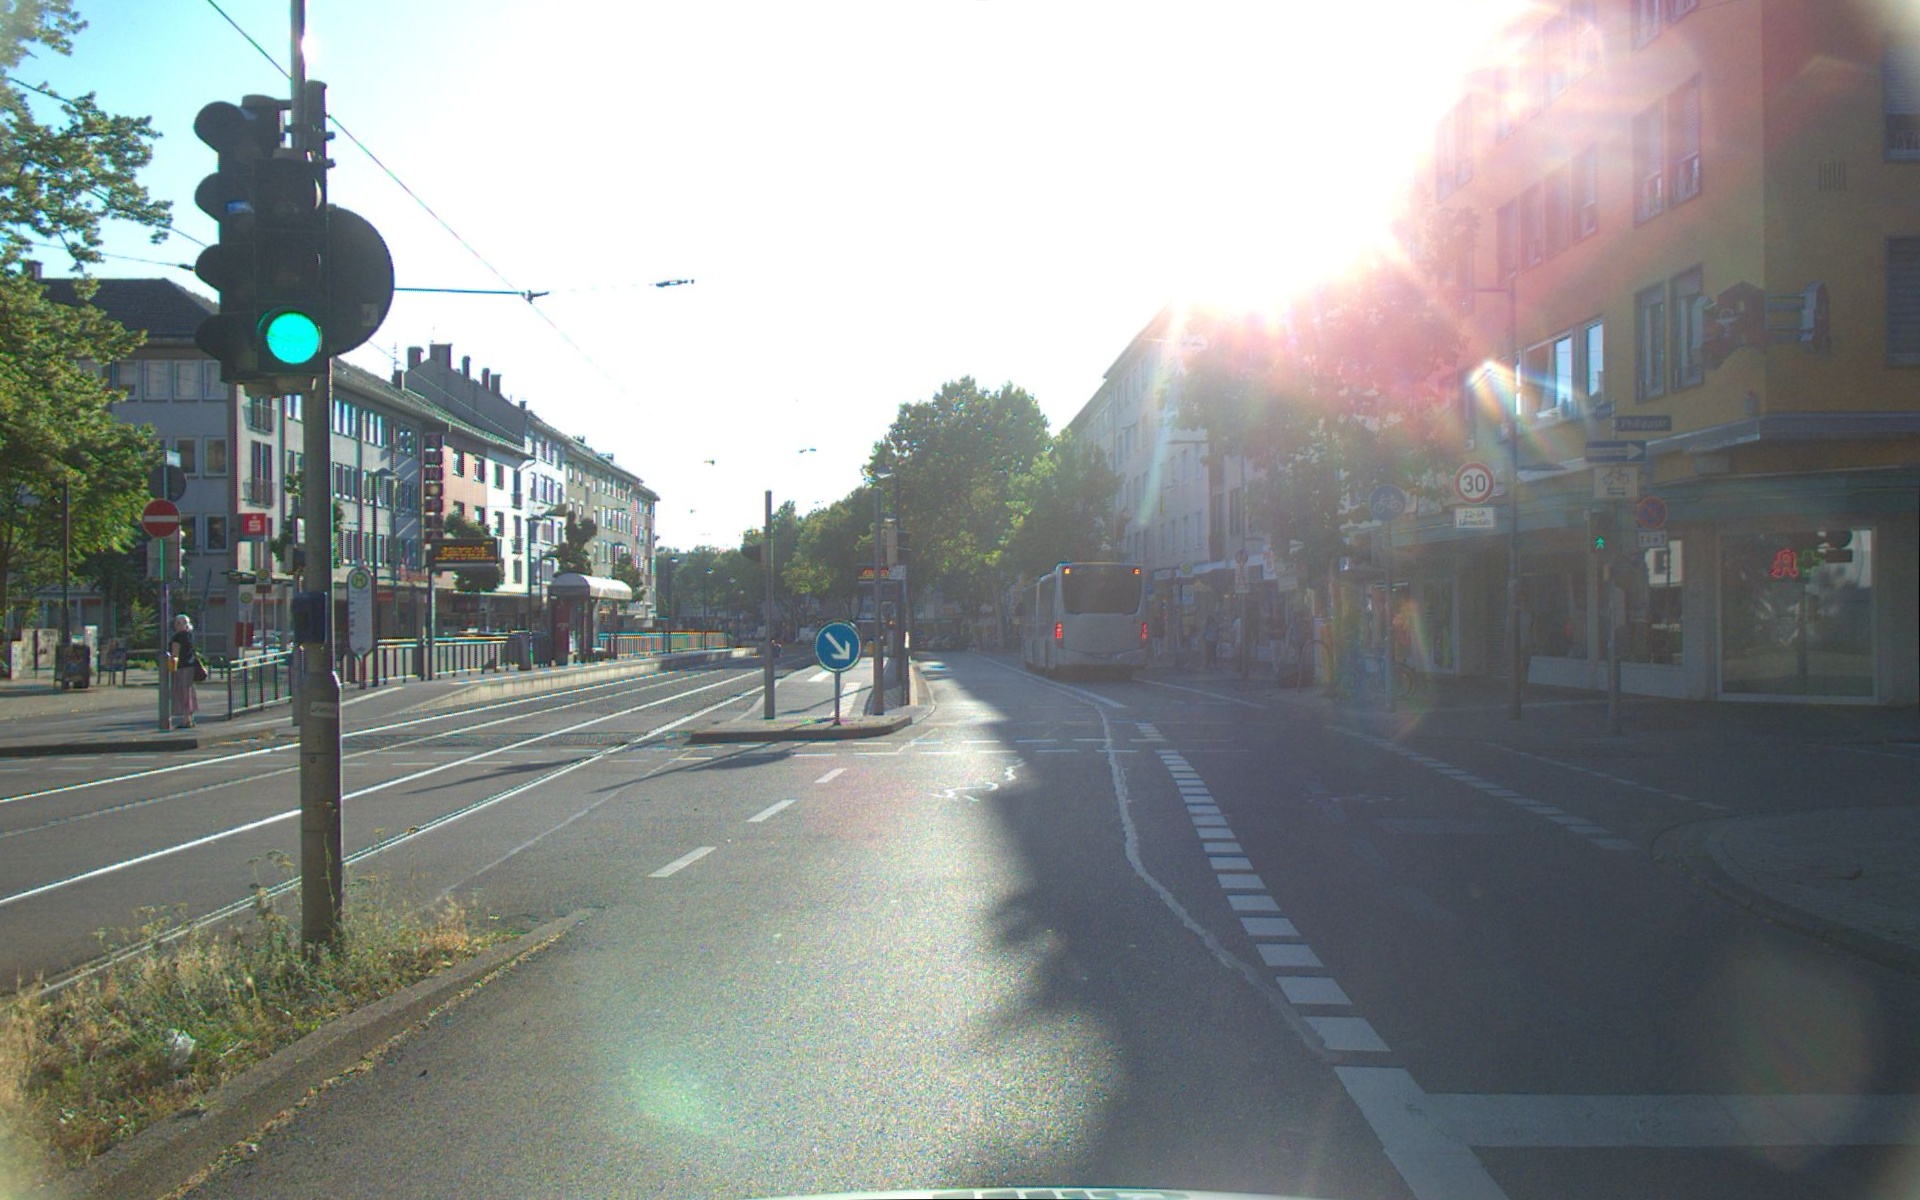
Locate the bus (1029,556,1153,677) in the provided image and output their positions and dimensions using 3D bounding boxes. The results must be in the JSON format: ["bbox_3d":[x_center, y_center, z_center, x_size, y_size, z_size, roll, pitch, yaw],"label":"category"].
[{"bbox_3d":[3.648,0.518,48.161,2.642,3.173,9.377,0,-1,-2],"label":"bus"}]

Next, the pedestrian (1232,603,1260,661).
[{"bbox_3d":[9.391,1.052,54.329,0.709,1.872,0.766,-1,-1,-2],"label":"pedestrian"}]

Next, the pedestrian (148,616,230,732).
[{"bbox_3d":[-12.180,1.155,26.140,0.900,1.791,0.832,-1,-1,0],"label":"pedestrian"}]

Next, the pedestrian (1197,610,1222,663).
[{"bbox_3d":[7.633,1.101,50.614,0.598,1.606,0.851,-1,-1,0],"label":"pedestrian"}]

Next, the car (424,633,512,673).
[{"bbox_3d":[-22.193,2.373,74.710,1.734,1.709,3.499,-1,0,34],"label":"car"}]

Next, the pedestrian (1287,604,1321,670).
[{"bbox_3d":[9.344,0.997,44.892,0.709,1.754,0.766,-1,-1,-2],"label":"pedestrian"}]

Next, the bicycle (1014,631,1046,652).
[{"bbox_3d":[4.180,2.500,99.068,1.848,1.096,0.754,-5,-1,1],"label":"bicycle"}]

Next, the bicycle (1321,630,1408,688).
[{"bbox_3d":[7.323,1.065,29.971,1.454,1.026,0.454,-1,-1,-5],"label":"bicycle"}]

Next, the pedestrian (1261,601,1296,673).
[{"bbox_3d":[8.218,0.959,42.706,0.709,1.838,0.766,-1,-1,-2],"label":"pedestrian"}]

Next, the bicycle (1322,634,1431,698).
[{"bbox_3d":[7.393,1.171,29.406,1.763,1.026,0.540,-3,-1,-5],"label":"bicycle"}]

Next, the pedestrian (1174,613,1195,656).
[{"bbox_3d":[8.825,1.358,65.038,0.709,1.661,0.766,-1,-1,-2],"label":"pedestrian"}]

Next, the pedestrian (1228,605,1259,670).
[{"bbox_3d":[7.956,1.055,46.449,0.709,1.810,0.766,-1,-1,-2],"label":"pedestrian"}]

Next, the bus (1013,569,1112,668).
[{"bbox_3d":[3.408,0.665,57.349,2.642,3.173,9.066,0,-1,-2],"label":"bus"}]

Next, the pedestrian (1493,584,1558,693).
[{"bbox_3d":[9.679,0.658,28.347,0.728,1.811,0.894,-2,-1,-2],"label":"pedestrian"}]
